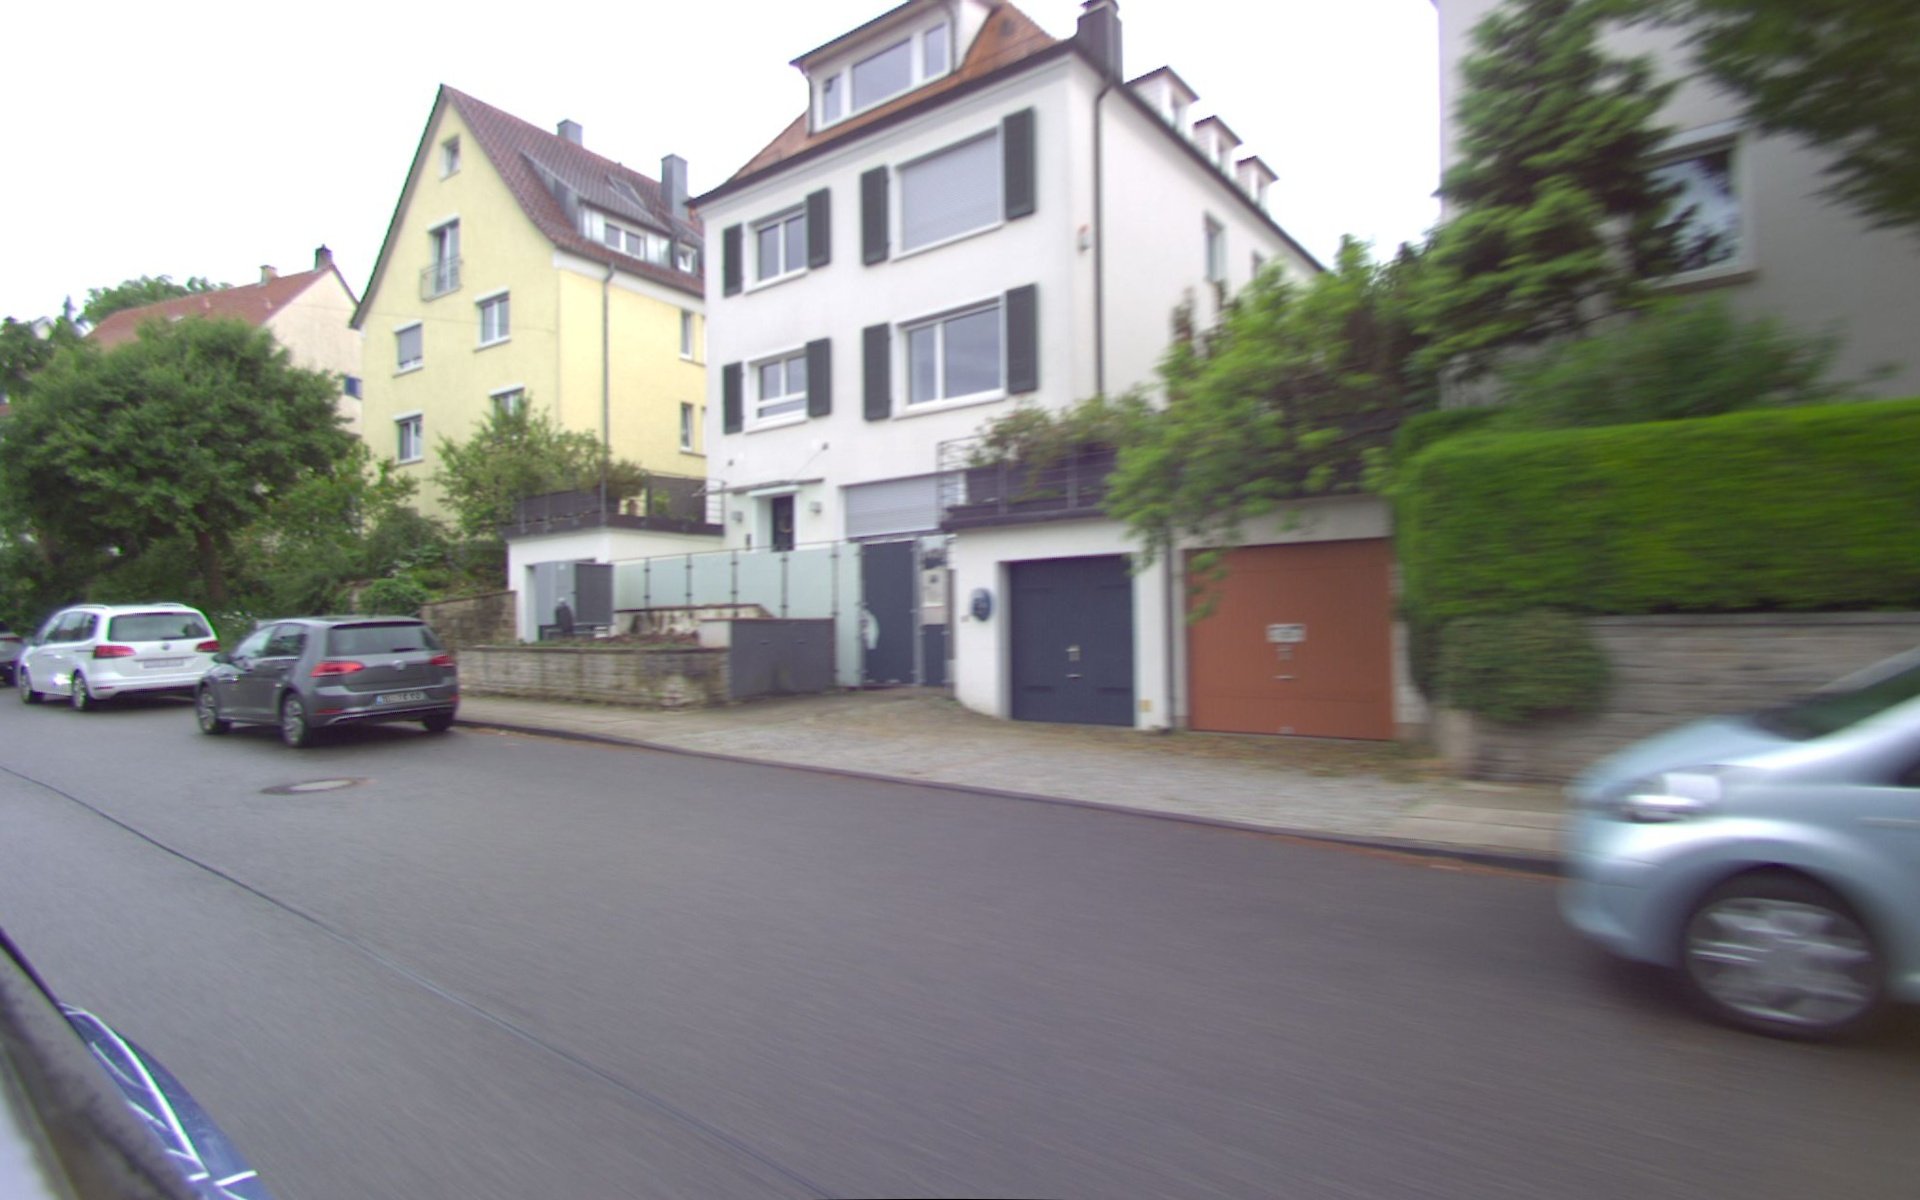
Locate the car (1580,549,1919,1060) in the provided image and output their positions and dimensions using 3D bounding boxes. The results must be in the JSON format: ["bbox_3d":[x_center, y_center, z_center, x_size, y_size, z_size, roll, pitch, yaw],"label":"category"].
[{"bbox_3d":[4.000,0.571,3.058,3.481,1.497,1.590,-2,-1,37],"label":"car"}]

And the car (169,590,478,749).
[{"bbox_3d":[-7.930,0.784,12.491,4.130,1.592,1.776,-2,1,36],"label":"car"}]

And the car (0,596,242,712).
[{"bbox_3d":[-14.742,0.904,17.673,4.724,1.715,1.978,-2,1,33],"label":"car"}]

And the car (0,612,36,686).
[{"bbox_3d":[-23.367,1.195,23.174,4.744,1.592,1.979,-2,1,31],"label":"car"}]
